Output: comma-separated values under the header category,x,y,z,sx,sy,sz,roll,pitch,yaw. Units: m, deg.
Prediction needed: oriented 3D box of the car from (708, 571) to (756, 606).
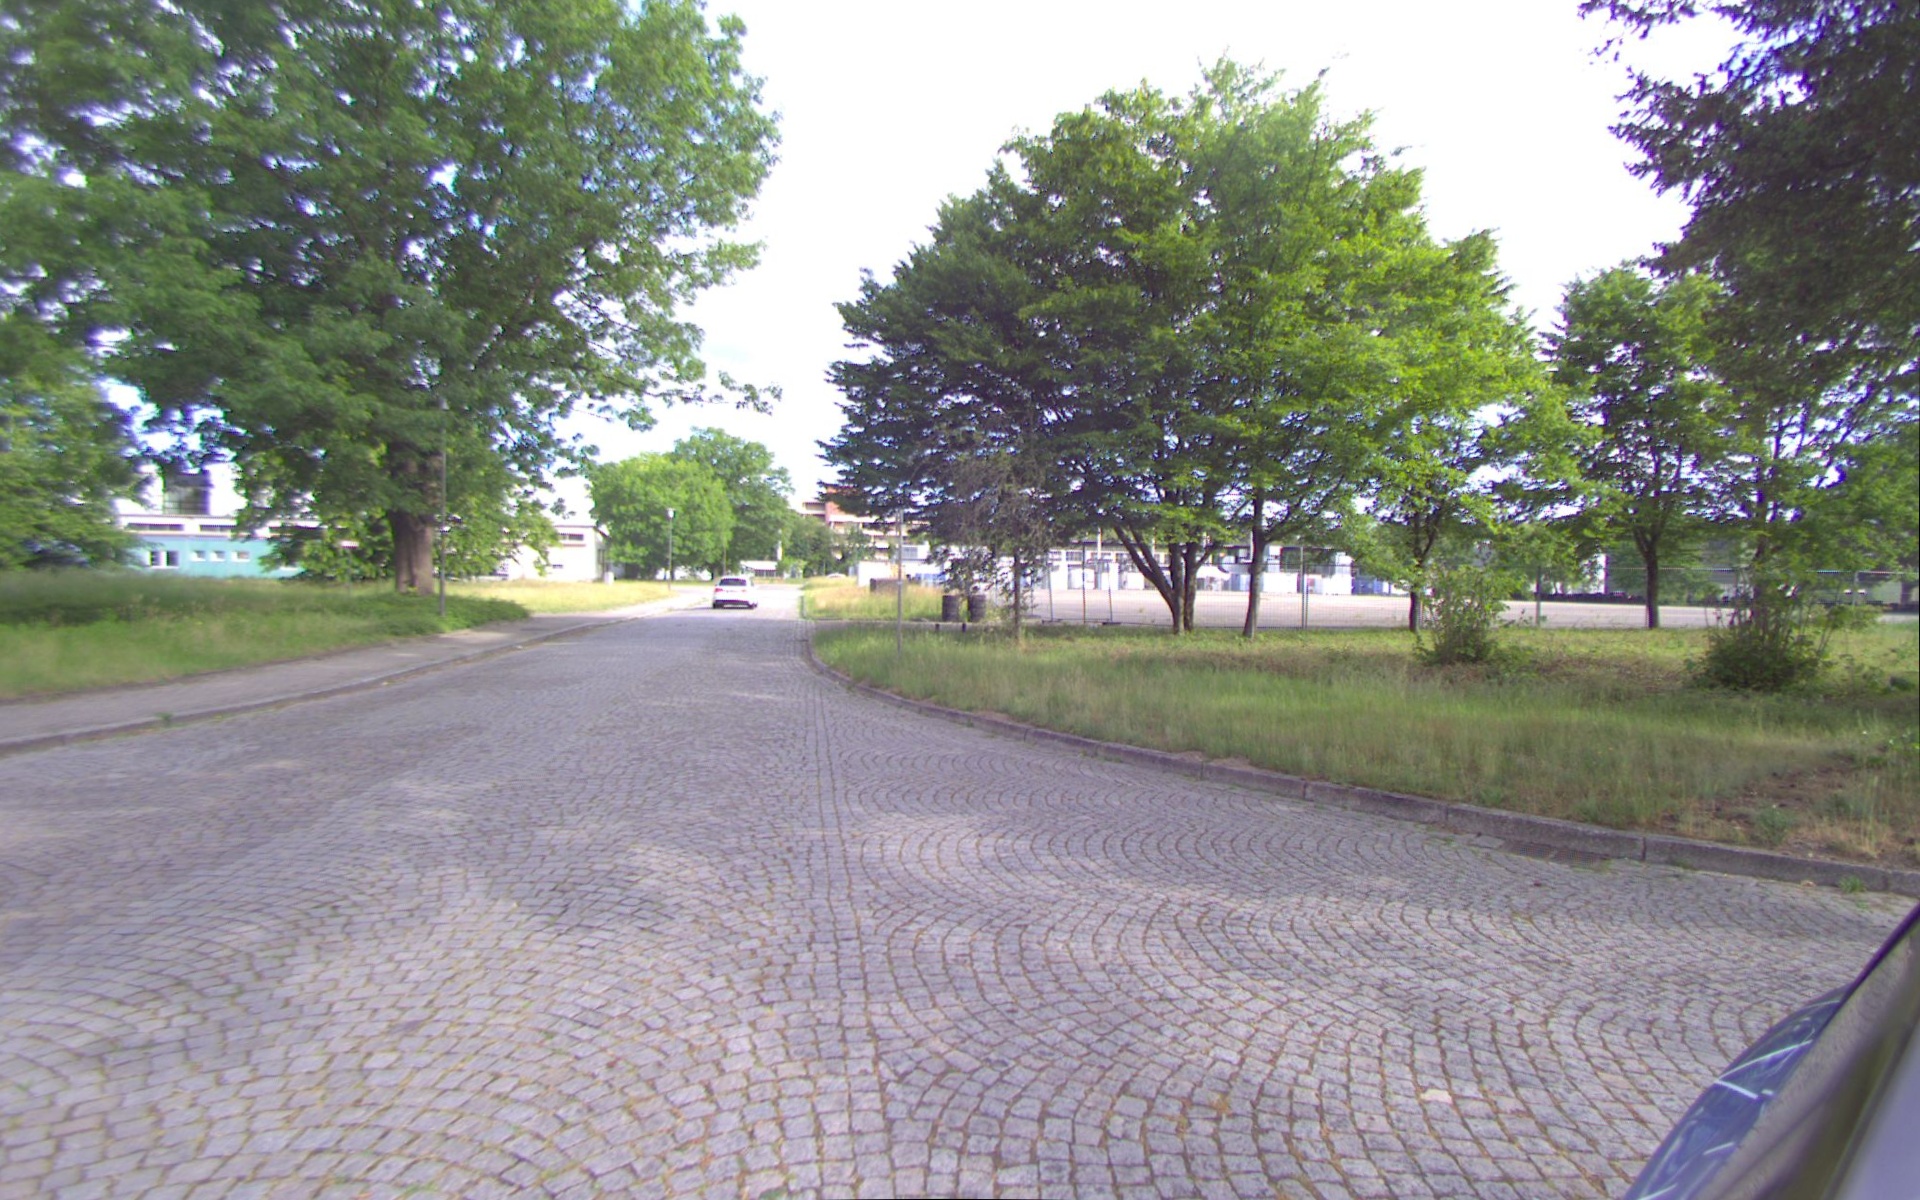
category,x,y,z,sx,sy,sz,roll,pitch,yaw
car,-10.105,-0.565,45.187,1.816,1.455,4.715,0,2,-9
